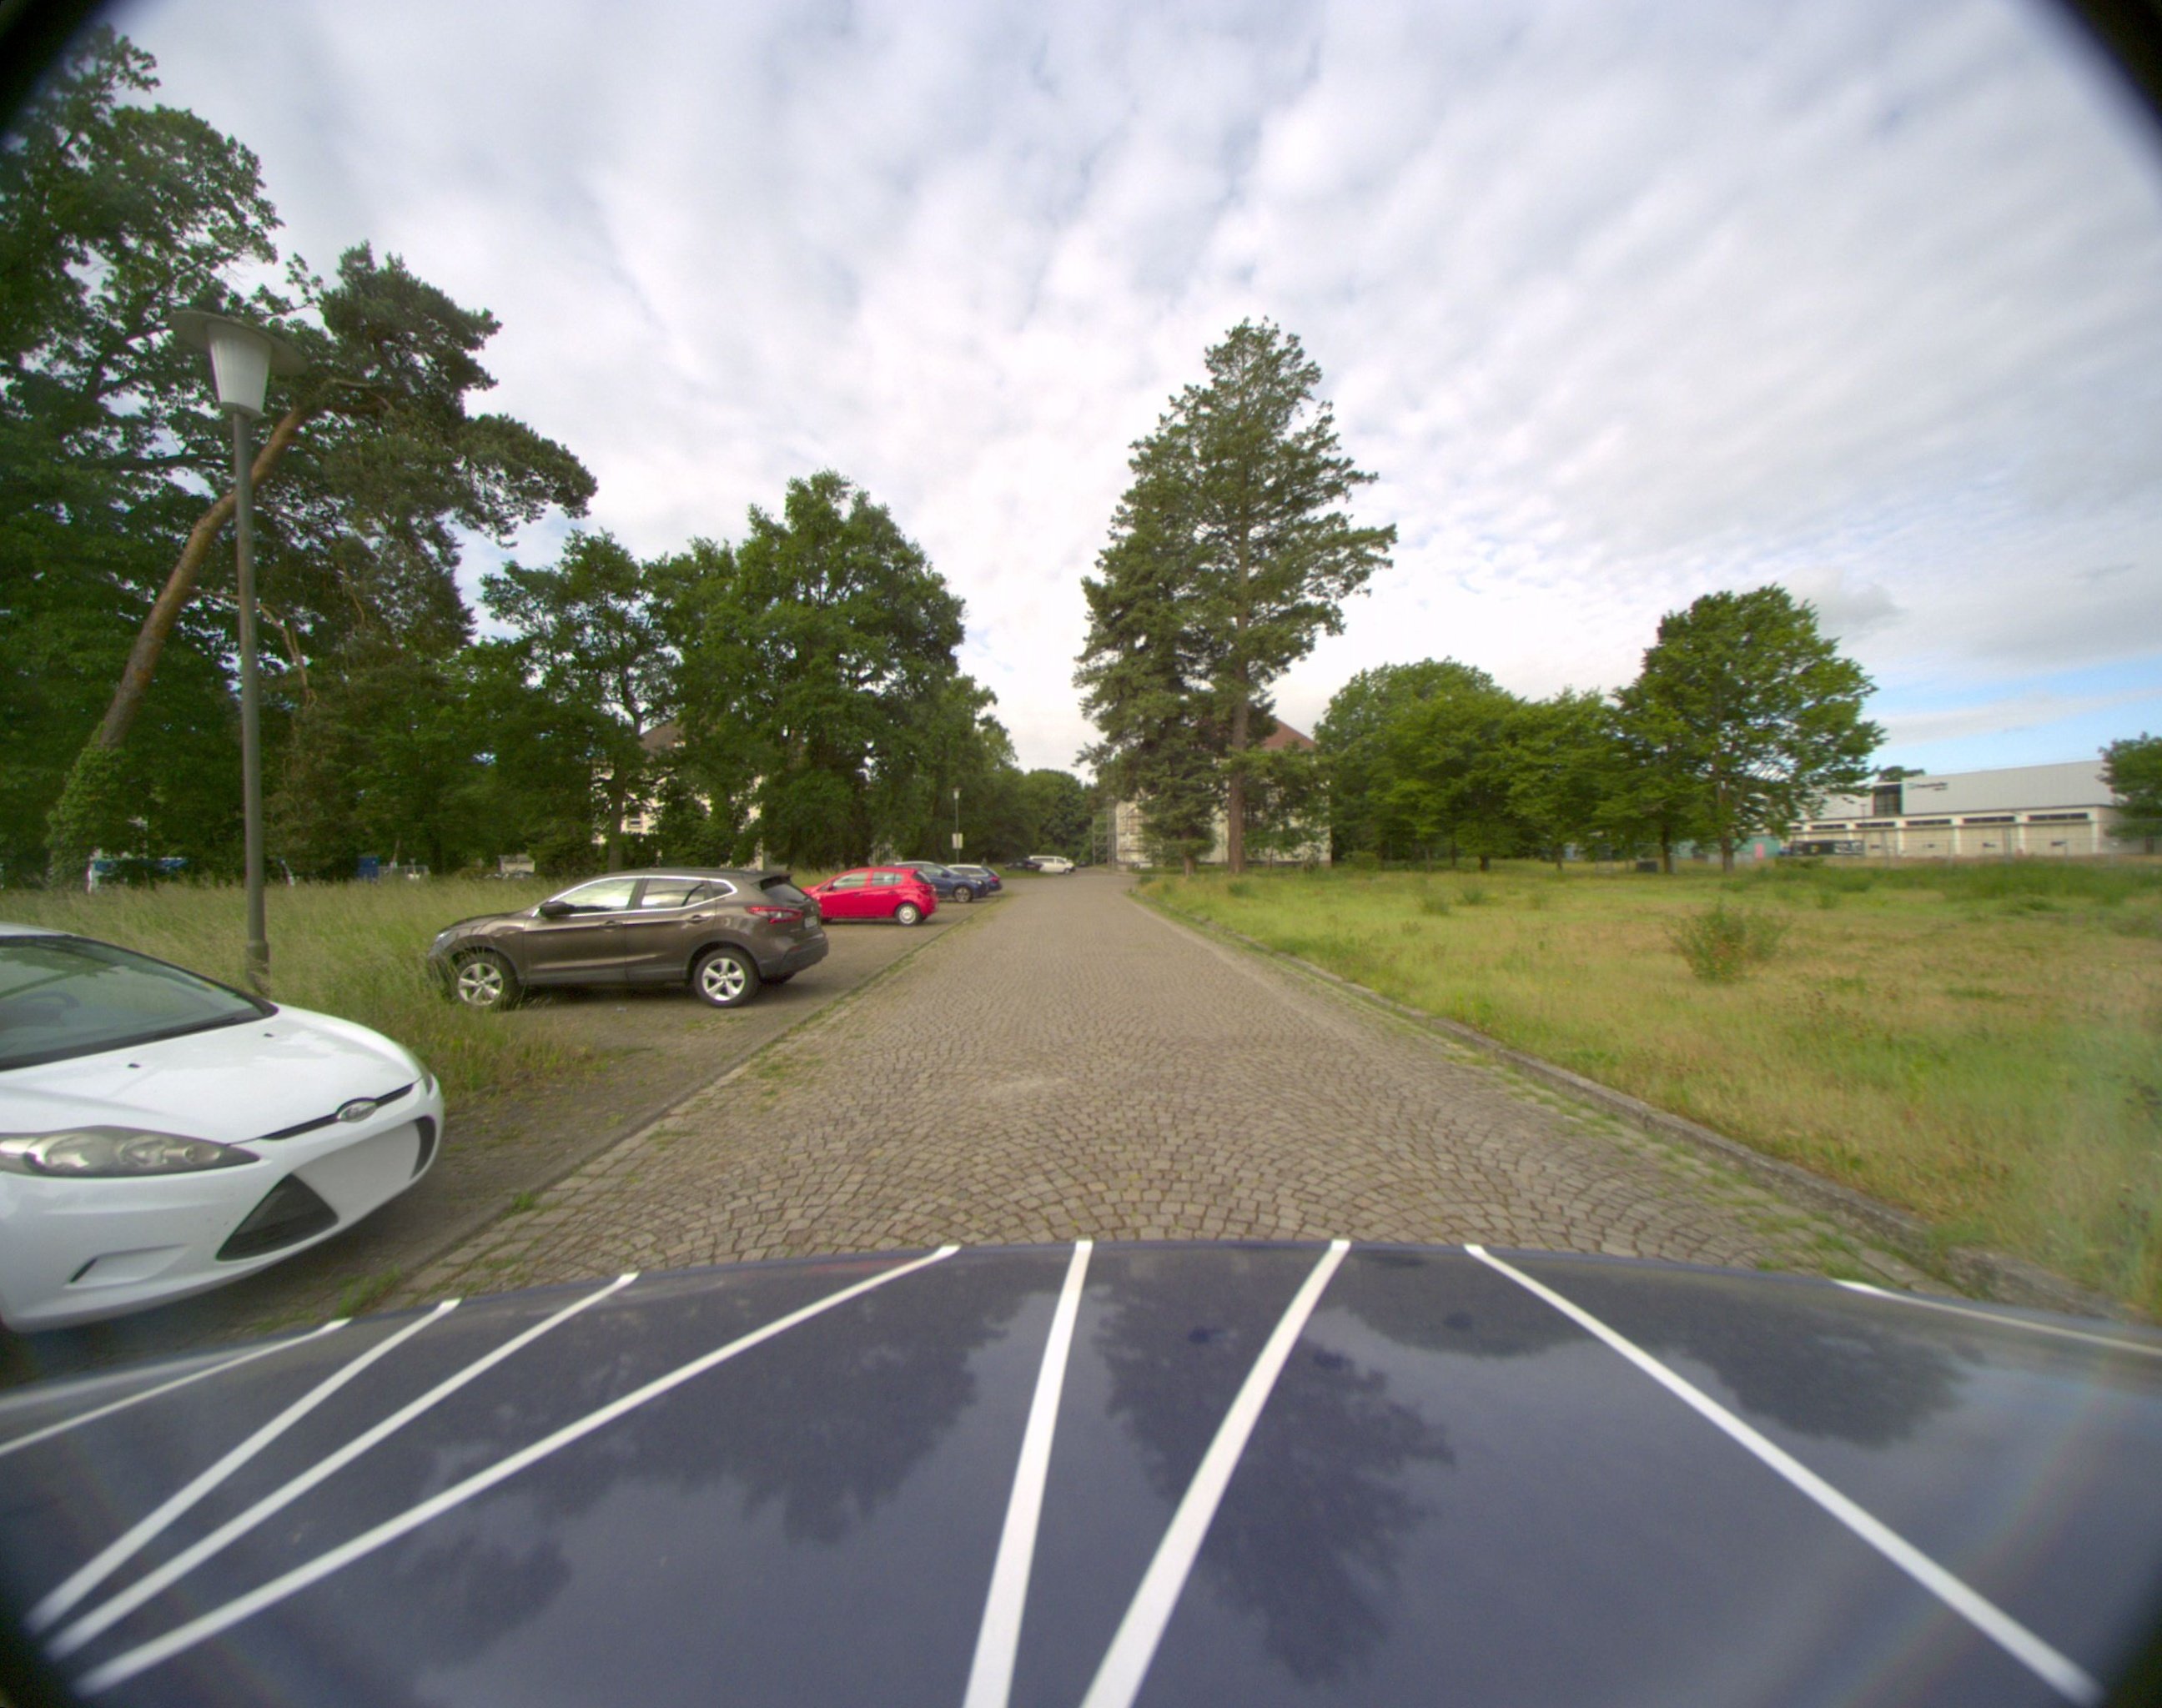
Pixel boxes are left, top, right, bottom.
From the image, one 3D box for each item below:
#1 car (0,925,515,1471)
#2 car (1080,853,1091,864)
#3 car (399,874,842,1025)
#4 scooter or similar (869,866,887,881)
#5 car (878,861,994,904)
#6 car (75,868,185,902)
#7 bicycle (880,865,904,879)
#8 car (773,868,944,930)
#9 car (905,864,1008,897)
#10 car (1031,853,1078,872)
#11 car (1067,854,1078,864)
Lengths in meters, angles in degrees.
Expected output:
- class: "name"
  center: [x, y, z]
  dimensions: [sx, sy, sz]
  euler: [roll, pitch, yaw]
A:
- class: "car"
  center: [-4.977, 1.114, 2.993]
  dimensions: [4.109, 1.470, 1.721]
  euler: [0, 0, -4]
- class: "car"
  center: [0.879, 0.899, 150.098]
  dimensions: [1.963, 2.002, 4.259]
  euler: [0, 0, -3]
- class: "car"
  center: [-5.337, 1.065, 9.341]
  dimensions: [4.215, 1.585, 1.952]
  euler: [0, 0, -4]
- class: "scooter or similar"
  center: [-16.689, 1.562, 62.363]
  dimensions: [1.308, 1.163, 0.413]
  euler: [-2, 1, -3]
- class: "car"
  center: [-5.634, 1.094, 29.947]
  dimensions: [4.256, 1.613, 1.886]
  euler: [0, 0, -3]
- class: "car"
  center: [-69.808, 2.194, 55.934]
  dimensions: [1.923, 2.290, 4.939]
  euler: [-1, 0, -1]
- class: "bicycle"
  center: [-15.833, 1.494, 63.733]
  dimensions: [1.862, 1.163, 0.487]
  euler: [-2, 0, -27]
- class: "car"
  center: [-5.641, 1.121, 19.641]
  dimensions: [3.934, 1.488, 1.784]
  euler: [0, 0, -3]
- class: "car"
  center: [-5.632, 1.205, 34.689]
  dimensions: [4.368, 1.430, 1.927]
  euler: [0, 0, 1]
- class: "car"
  center: [-2.905, 0.912, 83.570]
  dimensions: [5.150, 2.002, 2.000]
  euler: [0, 0, -2]
- class: "car"
  center: [-1.651, 0.949, 149.791]
  dimensions: [1.963, 2.002, 4.259]
  euler: [0, 0, -3]
